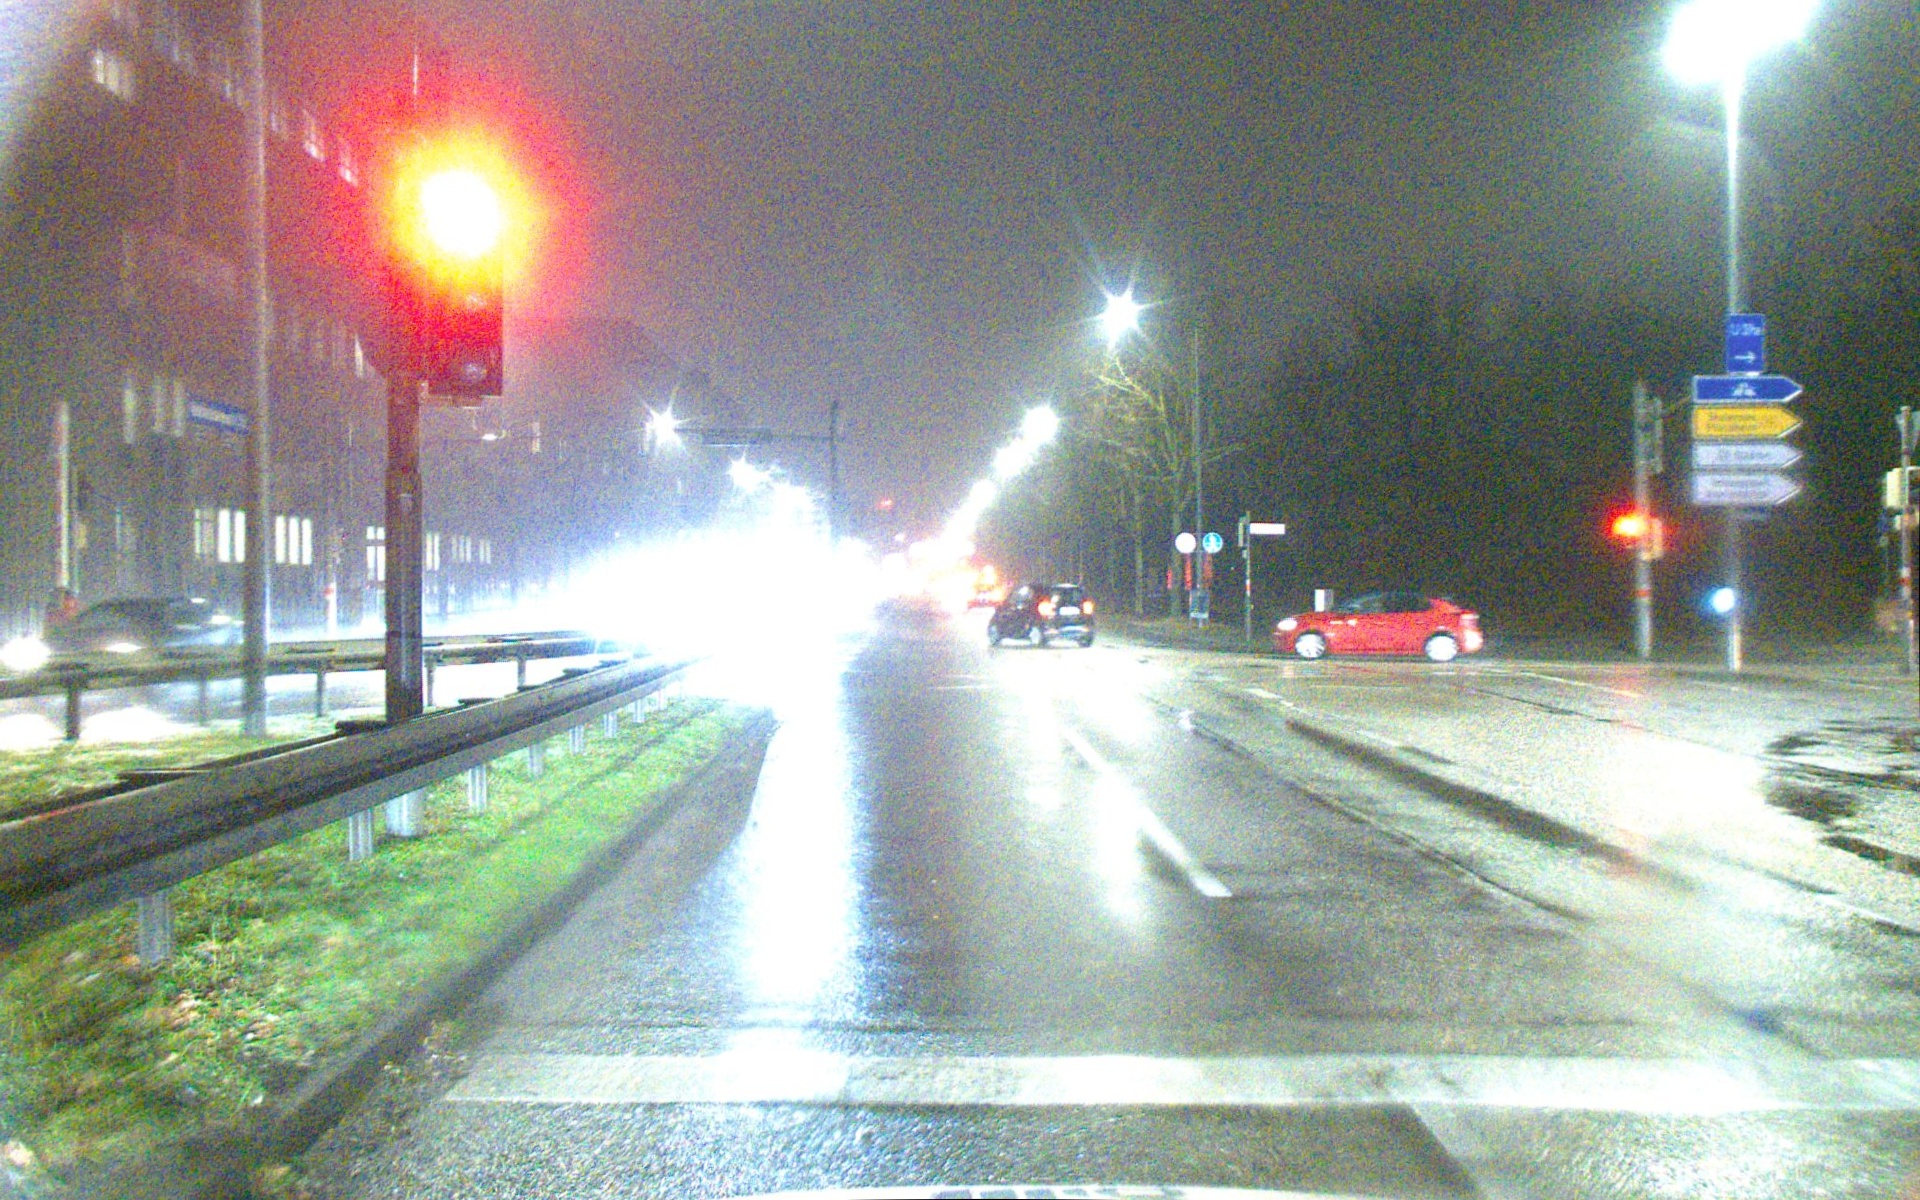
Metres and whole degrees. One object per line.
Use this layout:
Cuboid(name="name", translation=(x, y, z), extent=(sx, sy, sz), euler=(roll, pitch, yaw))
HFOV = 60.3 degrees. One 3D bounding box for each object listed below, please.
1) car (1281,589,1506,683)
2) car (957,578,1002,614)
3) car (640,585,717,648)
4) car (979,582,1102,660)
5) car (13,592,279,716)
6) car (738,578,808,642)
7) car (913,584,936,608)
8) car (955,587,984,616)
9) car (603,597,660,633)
Cuboid(name="car", translation=(8.700, 0.696, 33.193), extent=(4.247, 1.785, 1.985), euler=(0, -1, 17))
Cuboid(name="car", translation=(0.945, -0.188, 83.710), extent=(1.865, 1.811, 3.995), euler=(0, 0, -5))
Cuboid(name="car", translation=(-8.753, 0.502, 51.760), extent=(1.746, 1.847, 3.999), euler=(-1, 0, -1))
Cuboid(name="car", translation=(1.958, 0.512, 41.274), extent=(1.661, 1.870, 3.400), euler=(1, -1, -26))
Cuboid(name="car", translation=(-11.578, 0.715, 23.879), extent=(1.734, 1.597, 4.330), euler=(-1, 0, -1))
Cuboid(name="car", translation=(-6.222, 0.319, 55.406), extent=(1.953, 2.049, 3.999), euler=(-1, 0, -1))
Cuboid(name="car", translation=(-3.119, -0.309, 145.878), extent=(1.953, 2.049, 3.999), euler=(0, 0, -1))
Cuboid(name="car", translation=(0.698, 0.116, 128.032), extent=(2.163, 2.253, 3.642), euler=(0, -1, -1))
Cuboid(name="car", translation=(-15.094, 0.676, 76.241), extent=(1.809, 1.618, 4.351), euler=(0, 0, -1))
